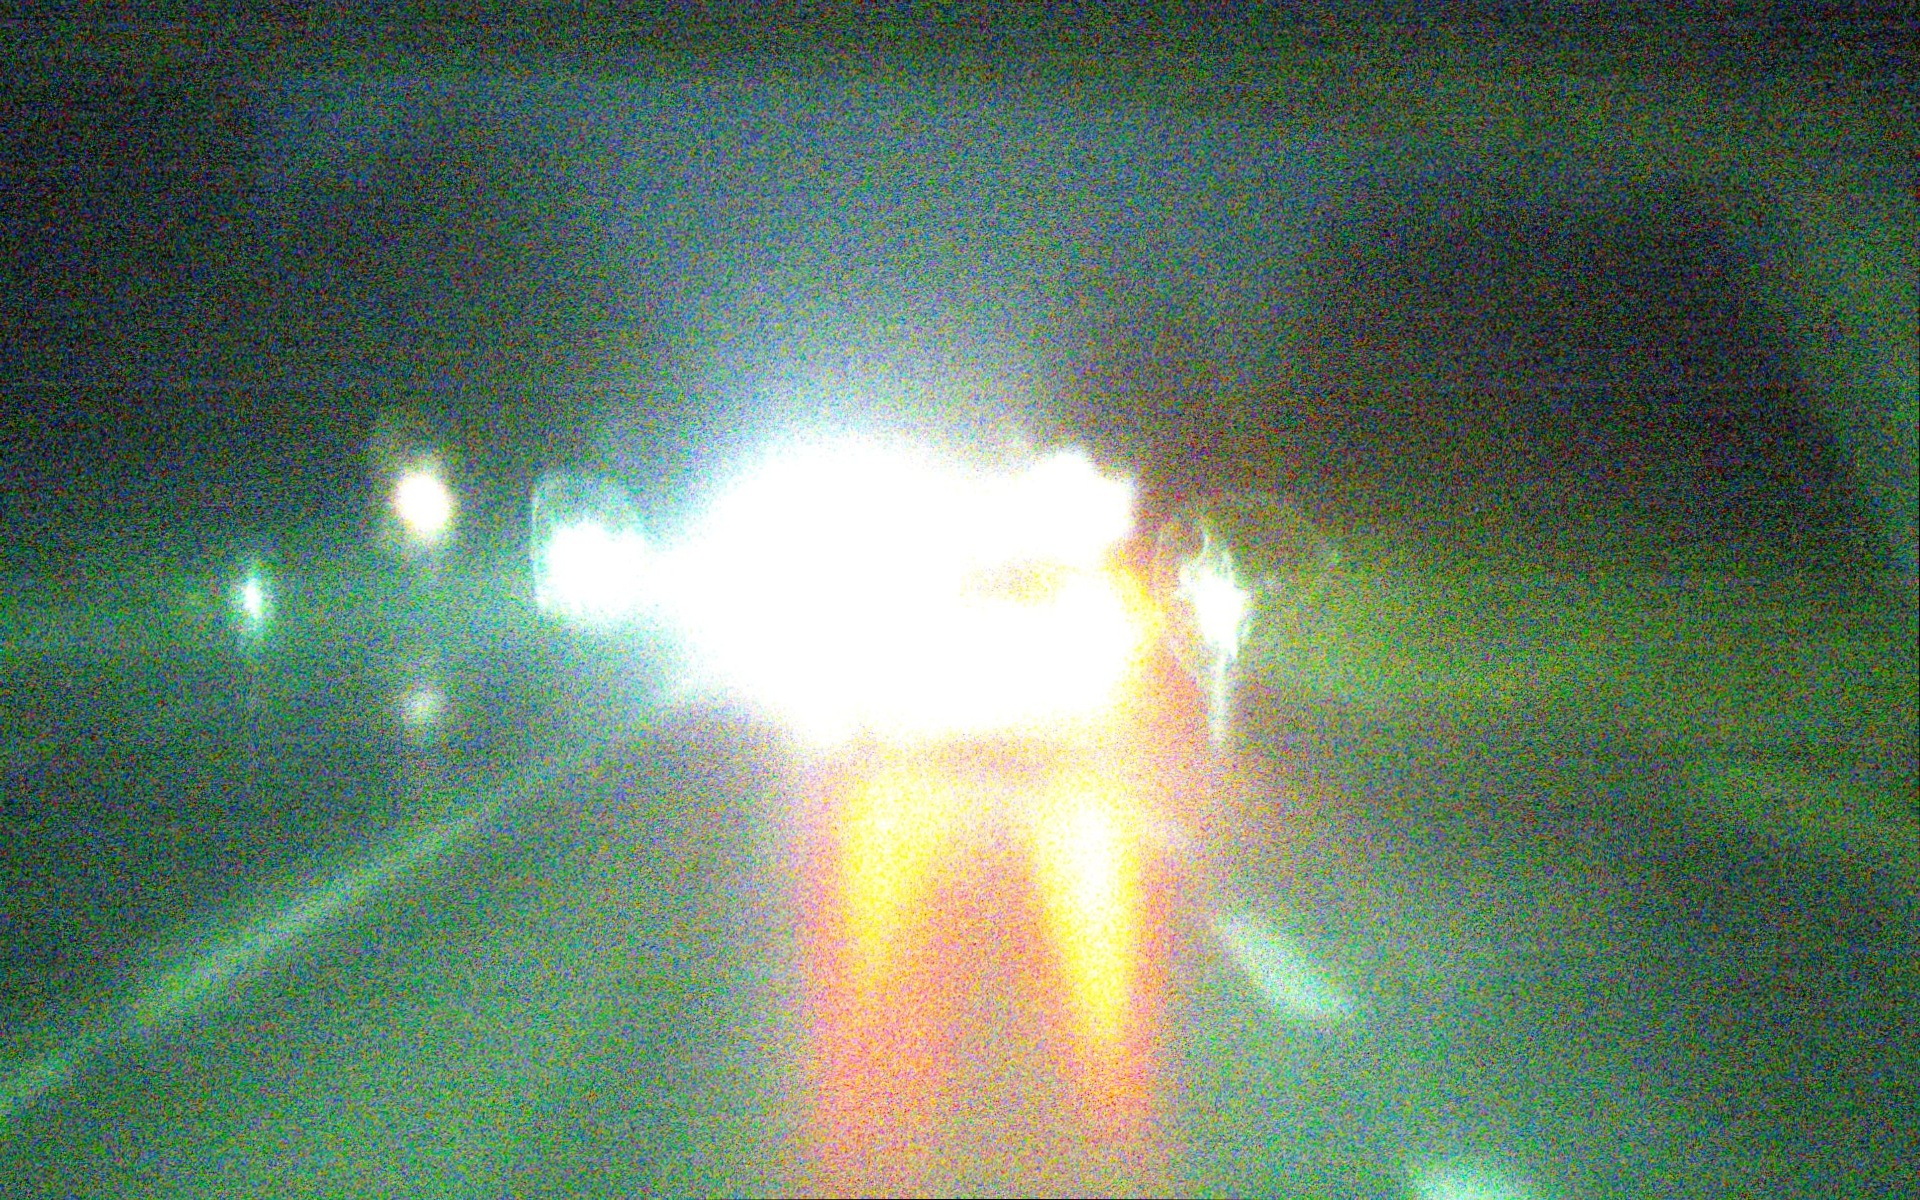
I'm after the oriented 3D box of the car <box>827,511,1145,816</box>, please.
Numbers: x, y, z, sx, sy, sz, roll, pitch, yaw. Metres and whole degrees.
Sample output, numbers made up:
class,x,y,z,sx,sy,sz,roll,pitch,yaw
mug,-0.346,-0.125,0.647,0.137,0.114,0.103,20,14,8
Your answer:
class,x,y,z,sx,sy,sz,roll,pitch,yaw
car,0.141,0.385,24.943,2.093,2.007,4.000,1,1,-1

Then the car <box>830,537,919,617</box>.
class,x,y,z,sx,sy,sz,roll,pitch,yaw
car,-1.795,-0.506,72.353,1.808,1.616,4.000,0,1,-1
